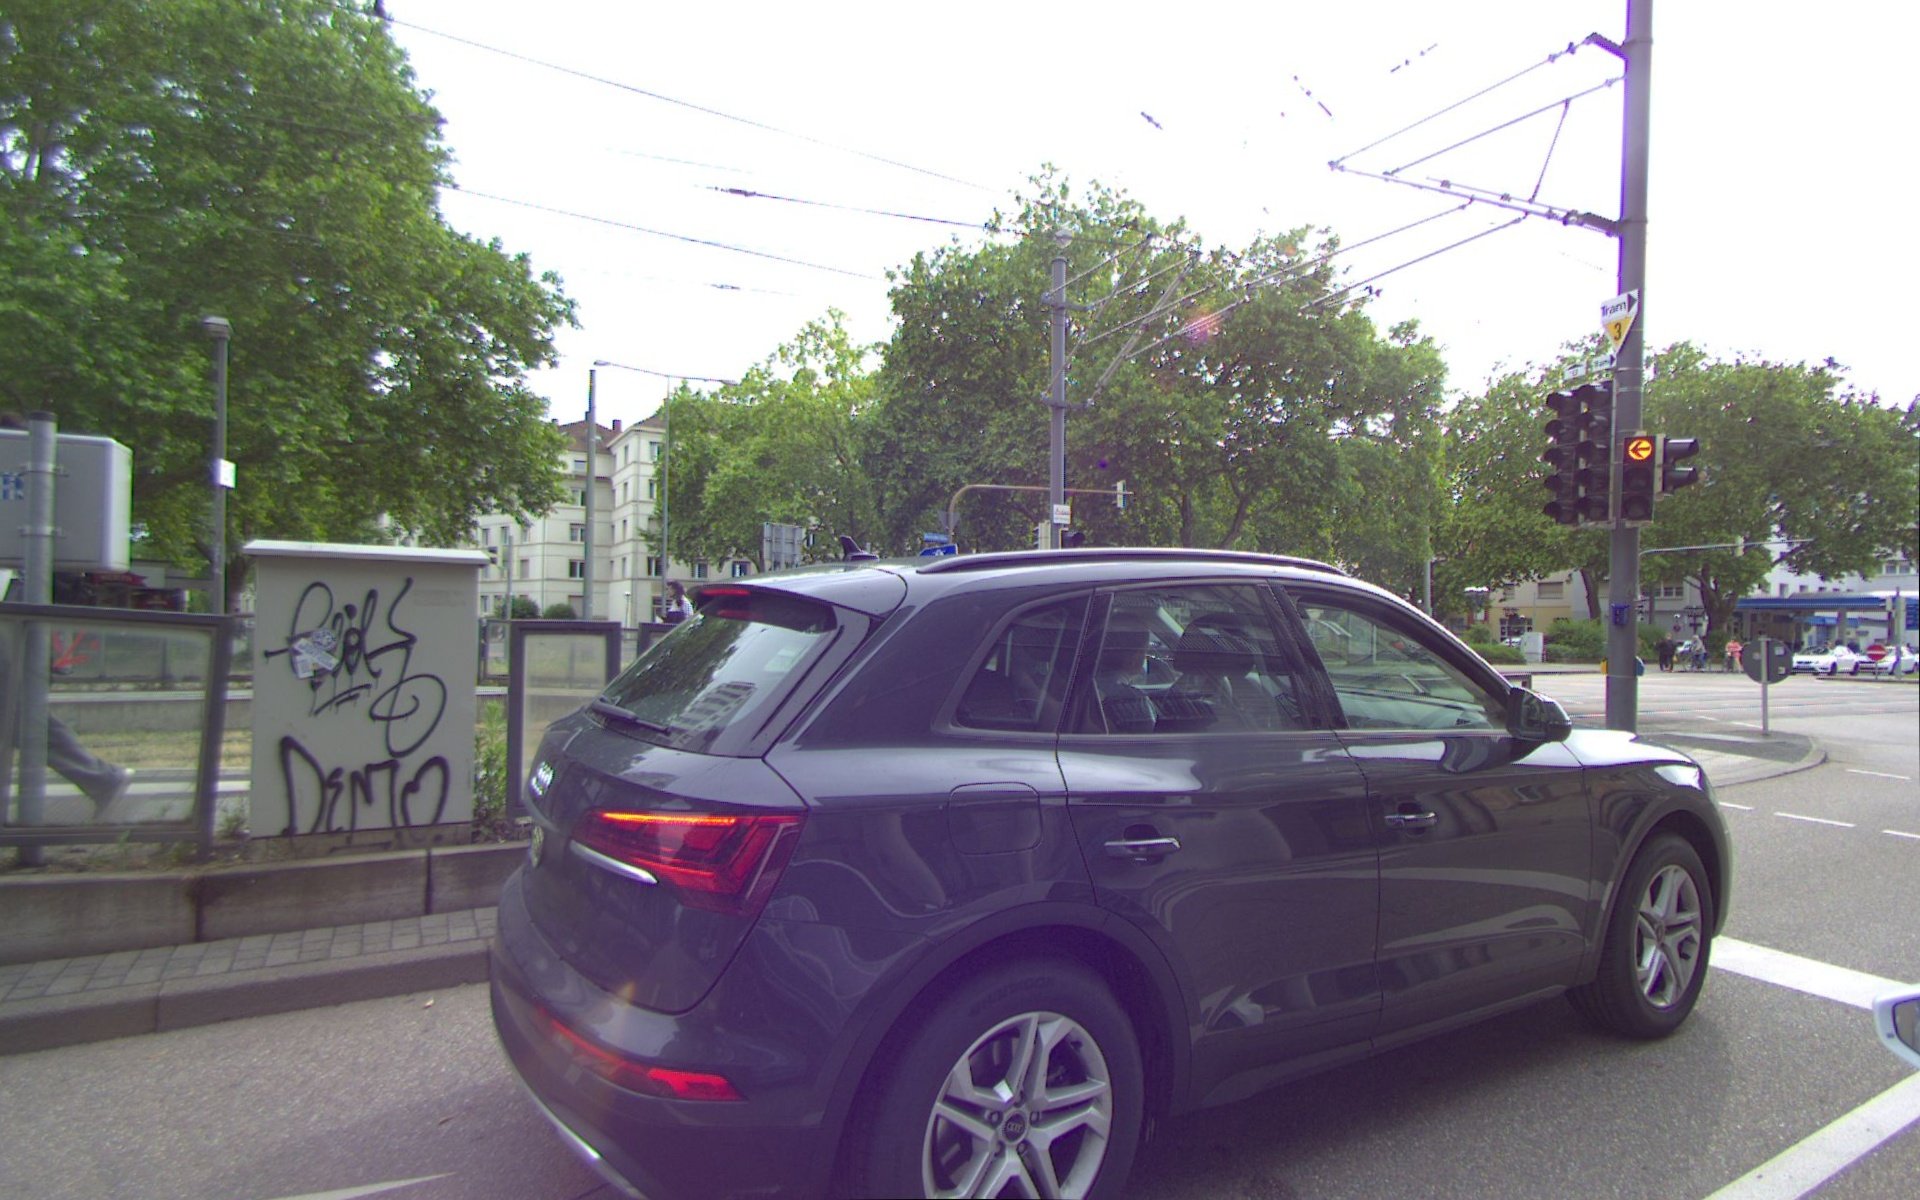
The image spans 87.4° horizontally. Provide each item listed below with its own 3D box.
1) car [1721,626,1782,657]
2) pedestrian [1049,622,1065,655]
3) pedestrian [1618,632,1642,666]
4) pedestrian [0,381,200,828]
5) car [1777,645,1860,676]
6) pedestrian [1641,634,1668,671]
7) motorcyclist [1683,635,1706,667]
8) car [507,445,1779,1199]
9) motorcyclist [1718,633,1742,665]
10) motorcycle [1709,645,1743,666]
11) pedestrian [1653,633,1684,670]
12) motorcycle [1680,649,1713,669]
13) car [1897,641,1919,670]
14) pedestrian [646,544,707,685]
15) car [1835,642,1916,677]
[{"bbox_3d":[54.638,2.879,69.331,3.953,2.040,1.984,2,-1,-30],"label":"car"},{"bbox_3d":[4.611,1.831,47.767,0.644,1.530,0.683,1,-1,-3],"label":"pedestrian"},{"bbox_3d":[34.227,2.498,51.313,0.732,1.713,0.681,2,0,-25],"label":"pedestrian"},{"bbox_3d":[-3.813,0.016,4.111,0.967,1.692,0.716,2,0,-27],"label":"pedestrian"},{"bbox_3d":[41.357,2.910,48.383,4.025,1.338,1.739,2,0,-29],"label":"car"},{"bbox_3d":[33.175,2.496,47.974,0.677,1.735,0.870,1,-1,-1],"label":"pedestrian"},{"bbox_3d":[35.804,2.483,48.940,0.863,1.540,0.617,2,-1,-30],"label":"motorcyclist"},{"bbox_3d":[0.825,0.627,3.455,4.177,1.658,1.725,2,0,-30],"label":"car"},{"bbox_3d":[37.235,2.367,48.566,0.863,1.540,0.617,2,-1,-30],"label":"motorcyclist"},{"bbox_3d":[36.929,2.668,48.428,1.928,0.941,0.604,2,-1,-30],"label":"motorcycle"},{"bbox_3d":[33.933,2.459,48.094,0.859,1.735,0.873,1,-1,-7],"label":"pedestrian"},{"bbox_3d":[35.944,2.862,49.023,1.928,0.941,0.604,2,-1,-30],"label":"motorcycle"},{"bbox_3d":[52.781,3.036,54.598,3.593,1.497,1.649,2,0,-29],"label":"car"},{"bbox_3d":[-4.130,0.212,14.618,0.658,1.976,0.732,2,0,-30],"label":"pedestrian"},{"bbox_3d":[46.978,3.024,51.516,3.953,1.615,1.984,2,0,-30],"label":"car"}]
